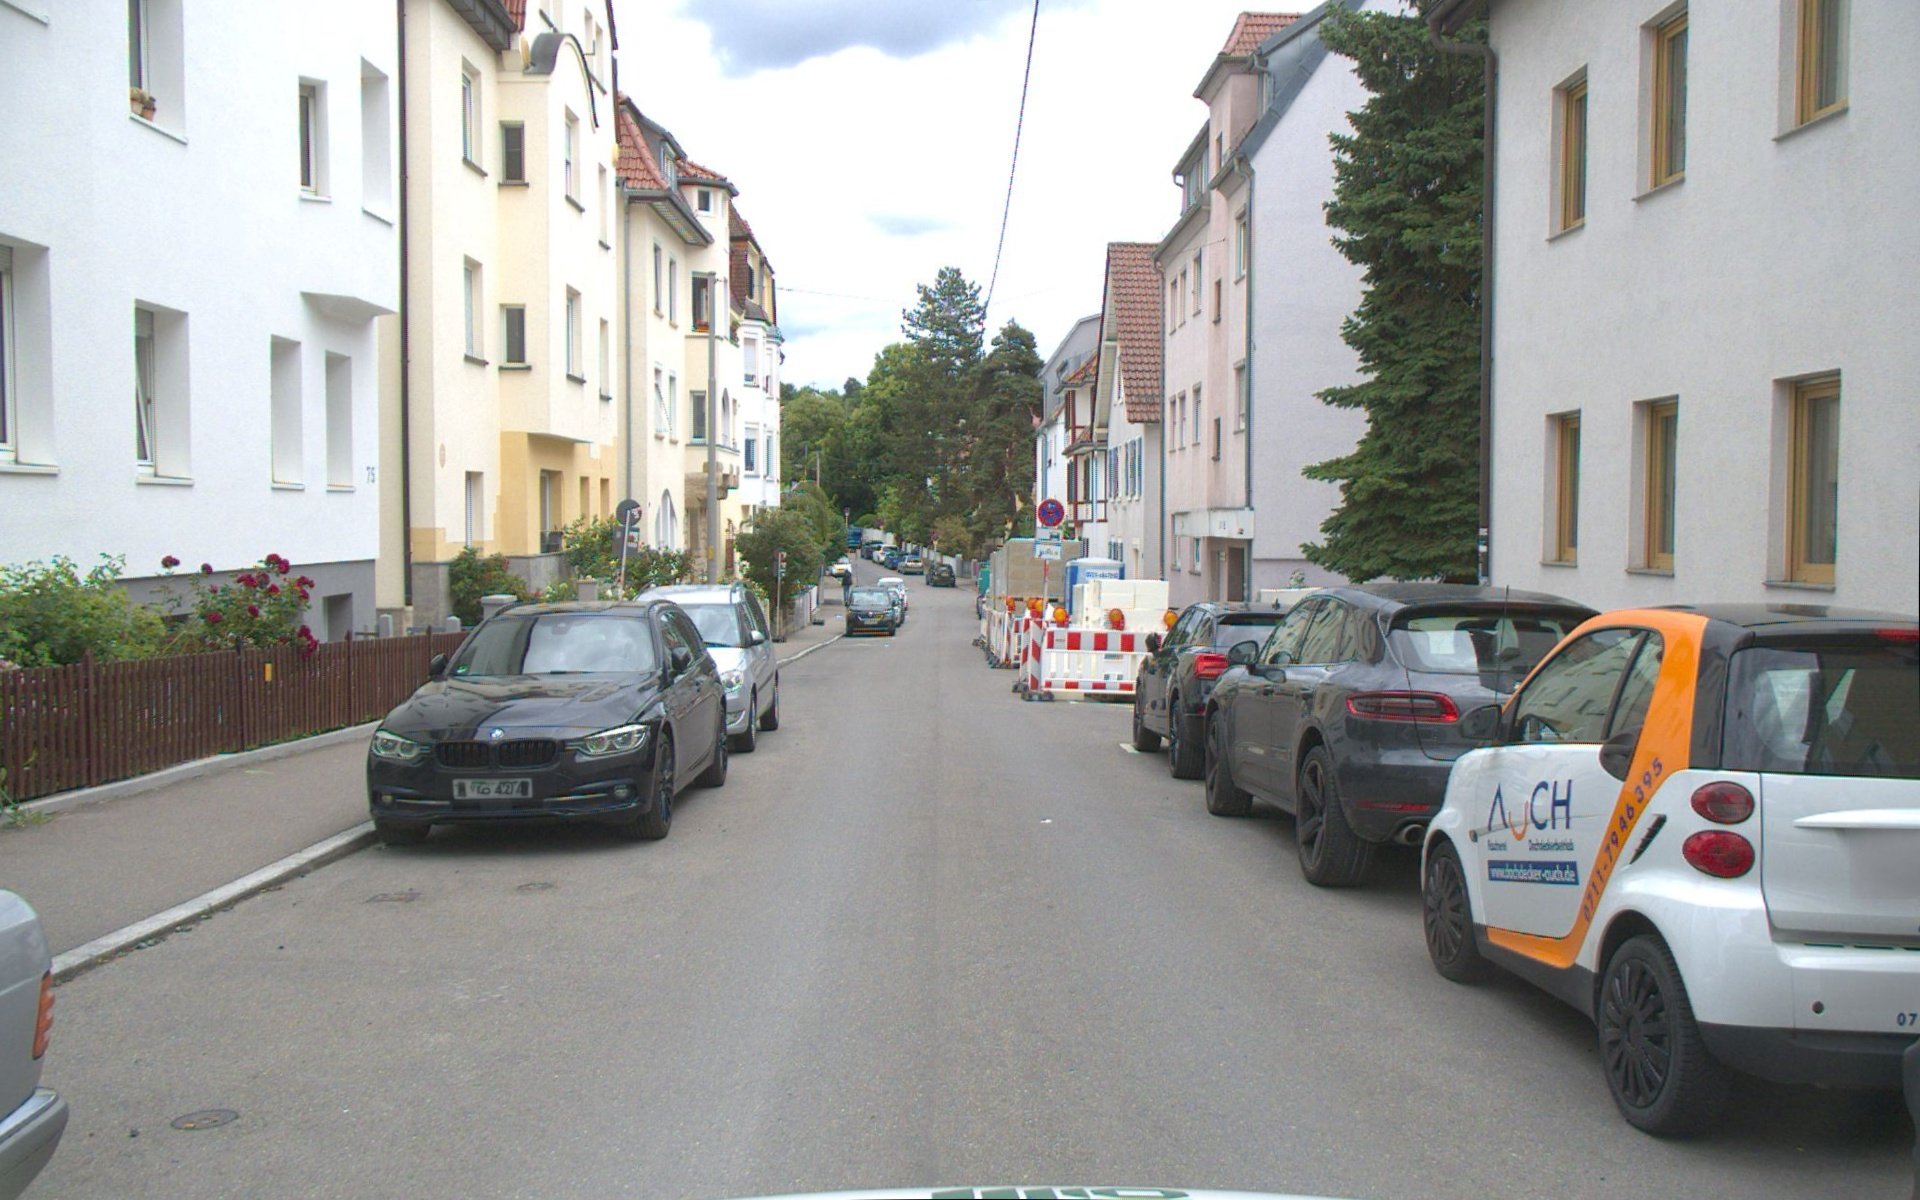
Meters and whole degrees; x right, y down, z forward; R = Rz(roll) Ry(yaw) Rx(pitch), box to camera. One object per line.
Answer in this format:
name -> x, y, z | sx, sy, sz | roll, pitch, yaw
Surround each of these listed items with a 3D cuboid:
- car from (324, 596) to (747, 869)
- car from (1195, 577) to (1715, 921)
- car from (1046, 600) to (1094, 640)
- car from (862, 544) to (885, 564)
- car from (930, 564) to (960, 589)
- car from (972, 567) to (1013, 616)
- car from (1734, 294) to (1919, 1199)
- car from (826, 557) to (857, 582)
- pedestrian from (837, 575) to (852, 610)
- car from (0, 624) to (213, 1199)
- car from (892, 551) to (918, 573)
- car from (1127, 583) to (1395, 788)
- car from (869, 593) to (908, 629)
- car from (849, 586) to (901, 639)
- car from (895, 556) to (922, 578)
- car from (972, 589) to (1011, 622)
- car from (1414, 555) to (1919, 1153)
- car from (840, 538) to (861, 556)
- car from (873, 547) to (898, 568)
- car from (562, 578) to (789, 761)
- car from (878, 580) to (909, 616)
car -> -2.663, 0.740, 11.498 | 1.807, 1.483, 4.503 | -1, 0, -1
car -> 2.703, 0.687, 10.188 | 1.679, 1.624, 4.497 | 1, 1, -2
car -> 4.596, 0.822, 69.527 | 1.655, 1.546, 3.879 | 1, 1, -2
car -> -7.550, -4.032, 144.573 | 1.604, 1.563, 3.524 | 1, 4, -10
car -> -1.062, -1.632, 116.408 | 1.604, 1.509, 3.525 | 1, 4, -8
car -> 1.672, -0.473, 86.305 | 1.940, 2.403, 4.276 | 0, 2, -2
car -> 2.745, 0.512, 0.873 | 1.867, 2.065, 5.732 | 1, 1, -1
car -> -9.012, -2.312, 125.548 | 1.644, 1.685, 3.851 | -2, 4, -14
pedestrian -> -6.527, -0.440, 93.488 | 0.775, 1.966, 0.919 | 1, 1, 2
car -> -2.457, 0.773, 0.958 | 1.807, 1.437, 5.061 | 0, 0, -1
car -> -4.458, -3.056, 132.826 | 1.604, 1.509, 3.524 | 1, 4, -10
car -> 2.622, 0.667, 15.325 | 1.680, 1.593, 4.073 | 1, 1, -1
car -> -3.065, 0.471, 71.529 | 1.609, 1.441, 3.983 | -1, 1, -2
car -> -3.164, 0.414, 61.018 | 1.808, 1.847, 4.541 | -1, 0, -4
car -> -4.010, -2.572, 128.286 | 1.604, 1.509, 3.524 | 1, 4, -10
car -> 1.477, 0.240, 79.411 | 1.690, 1.473, 3.880 | 0, 2, -2
car -> 2.758, 0.687, 5.924 | 1.456, 1.624, 2.791 | 1, 1, 0
car -> -10.517, -5.081, 158.862 | 1.604, 1.563, 3.524 | 1, 4, -10
car -> -6.261, -3.559, 138.999 | 1.604, 1.563, 3.524 | 1, 4, -10
car -> -2.821, 0.635, 17.252 | 1.808, 1.659, 4.284 | 0, 0, -3
car -> -3.604, -0.118, 89.863 | 1.638, 1.685, 3.863 | -1, 4, -2
